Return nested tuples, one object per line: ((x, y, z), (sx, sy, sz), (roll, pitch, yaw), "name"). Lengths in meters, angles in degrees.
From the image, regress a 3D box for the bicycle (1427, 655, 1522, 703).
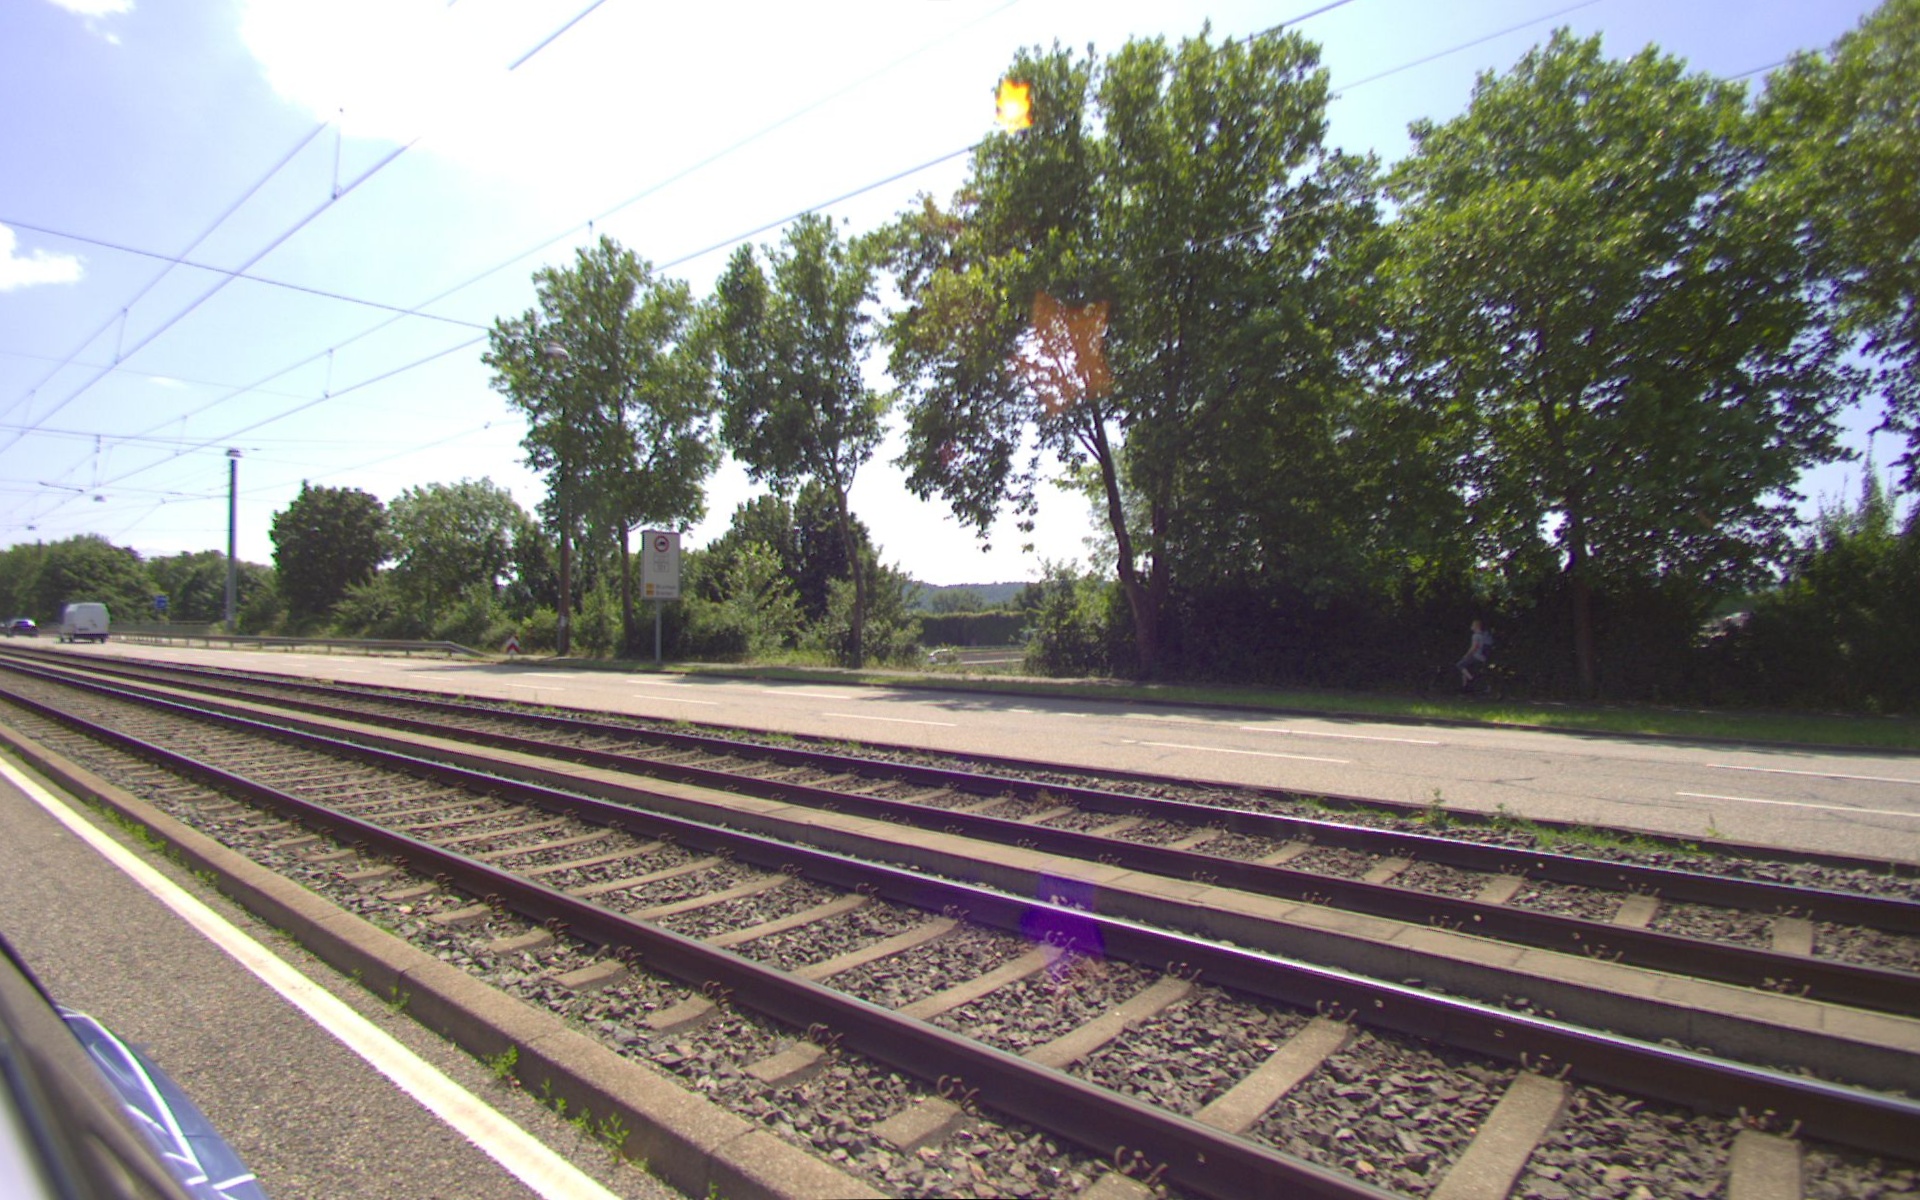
((11.616, 1.771, 22.898), (0.721, 0.995, 1.765), (2, -2, -37), "bicycle")

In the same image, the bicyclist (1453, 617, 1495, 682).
((11.627, 1.114, 22.884), (0.577, 1.440, 0.647), (2, -2, -36), "bicyclist")

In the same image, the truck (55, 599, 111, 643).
((-62.378, 1.521, 71.933), (6.316, 2.961, 2.032), (-1, -3, 41), "truck")

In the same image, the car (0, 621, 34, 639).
((-82.845, 2.623, 88.853), (4.425, 1.526, 1.799), (-1, -3, 41), "car")
